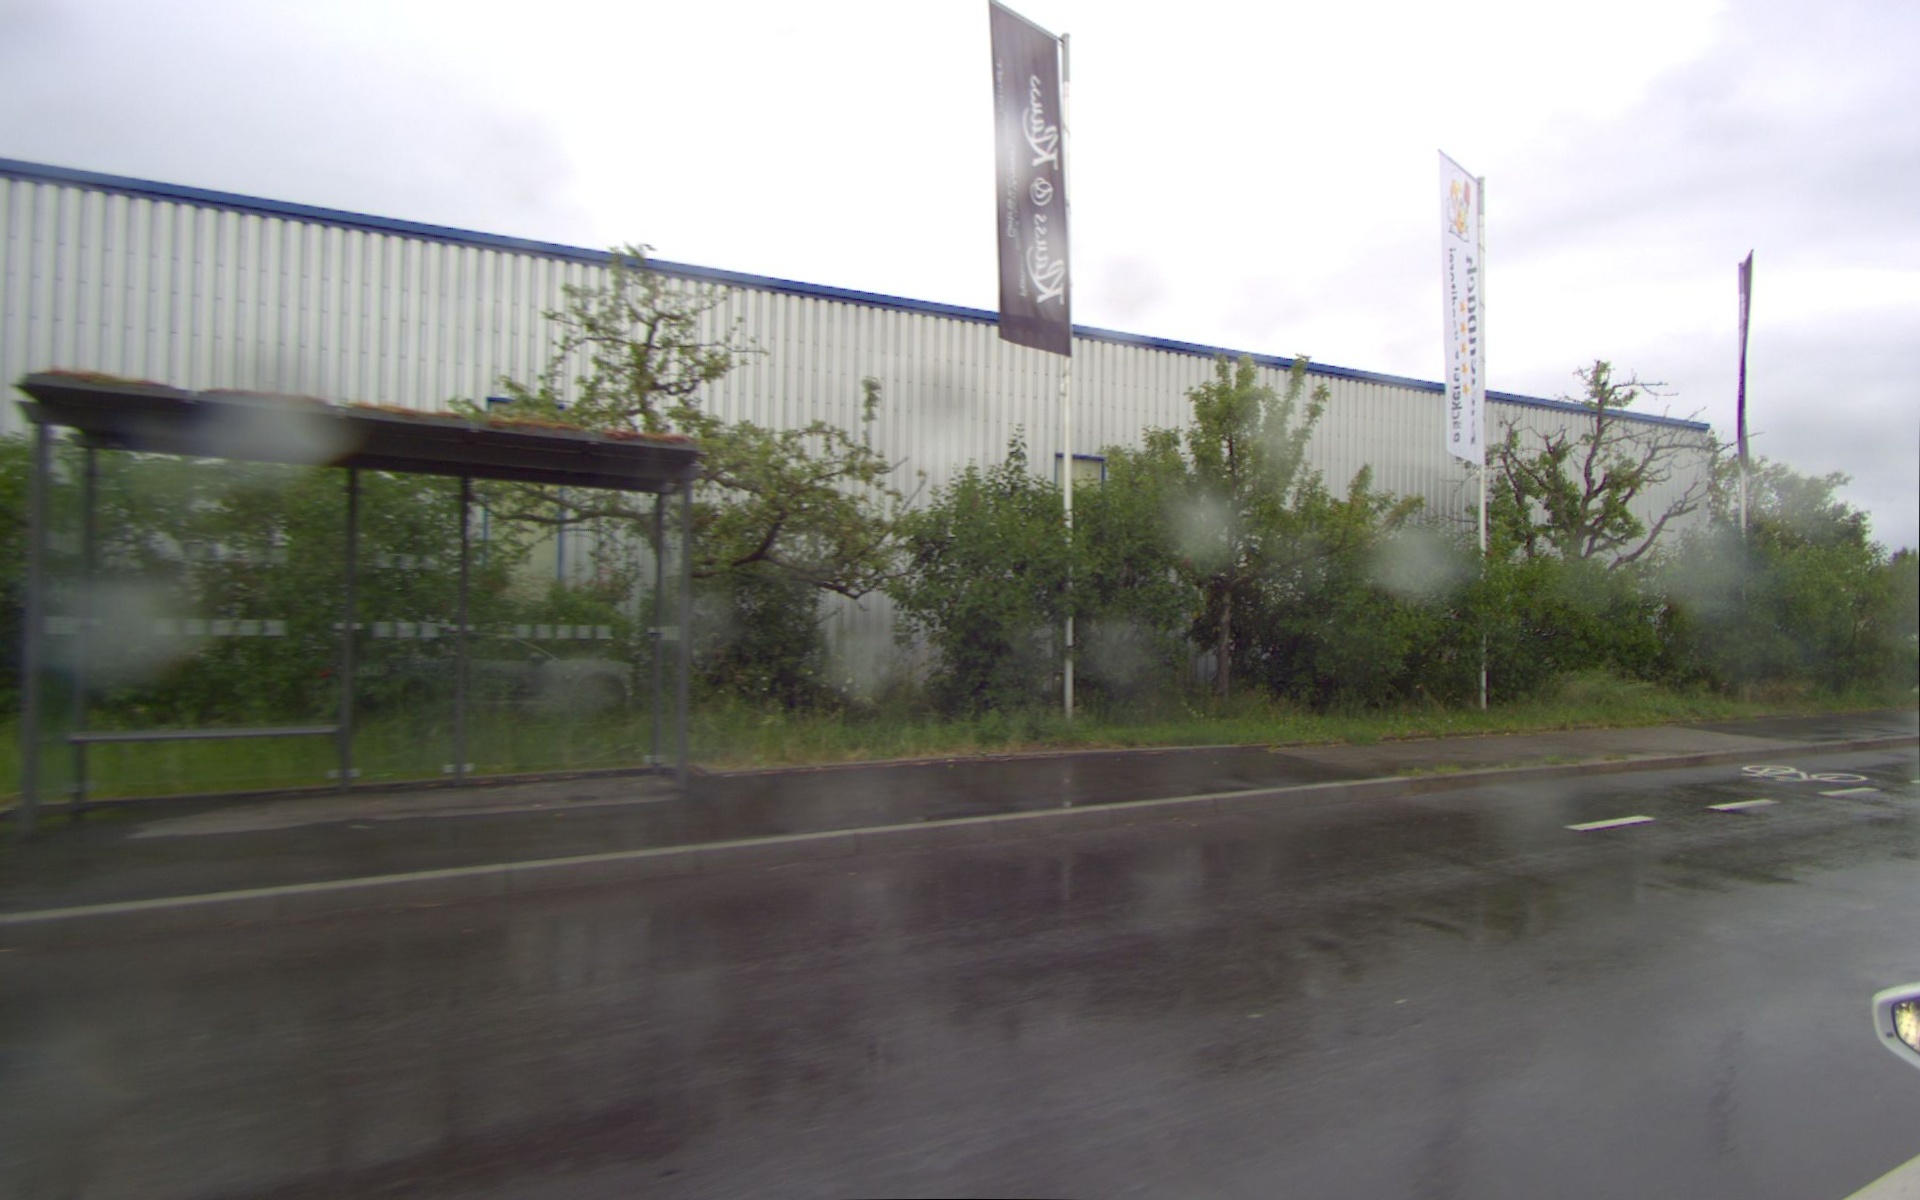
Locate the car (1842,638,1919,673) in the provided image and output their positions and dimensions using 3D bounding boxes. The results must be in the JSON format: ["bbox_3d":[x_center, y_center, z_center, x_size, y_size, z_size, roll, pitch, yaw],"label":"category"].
[{"bbox_3d":[46.353,2.738,50.526,4.126,1.577,2.100,1,0,-36],"label":"car"}]
